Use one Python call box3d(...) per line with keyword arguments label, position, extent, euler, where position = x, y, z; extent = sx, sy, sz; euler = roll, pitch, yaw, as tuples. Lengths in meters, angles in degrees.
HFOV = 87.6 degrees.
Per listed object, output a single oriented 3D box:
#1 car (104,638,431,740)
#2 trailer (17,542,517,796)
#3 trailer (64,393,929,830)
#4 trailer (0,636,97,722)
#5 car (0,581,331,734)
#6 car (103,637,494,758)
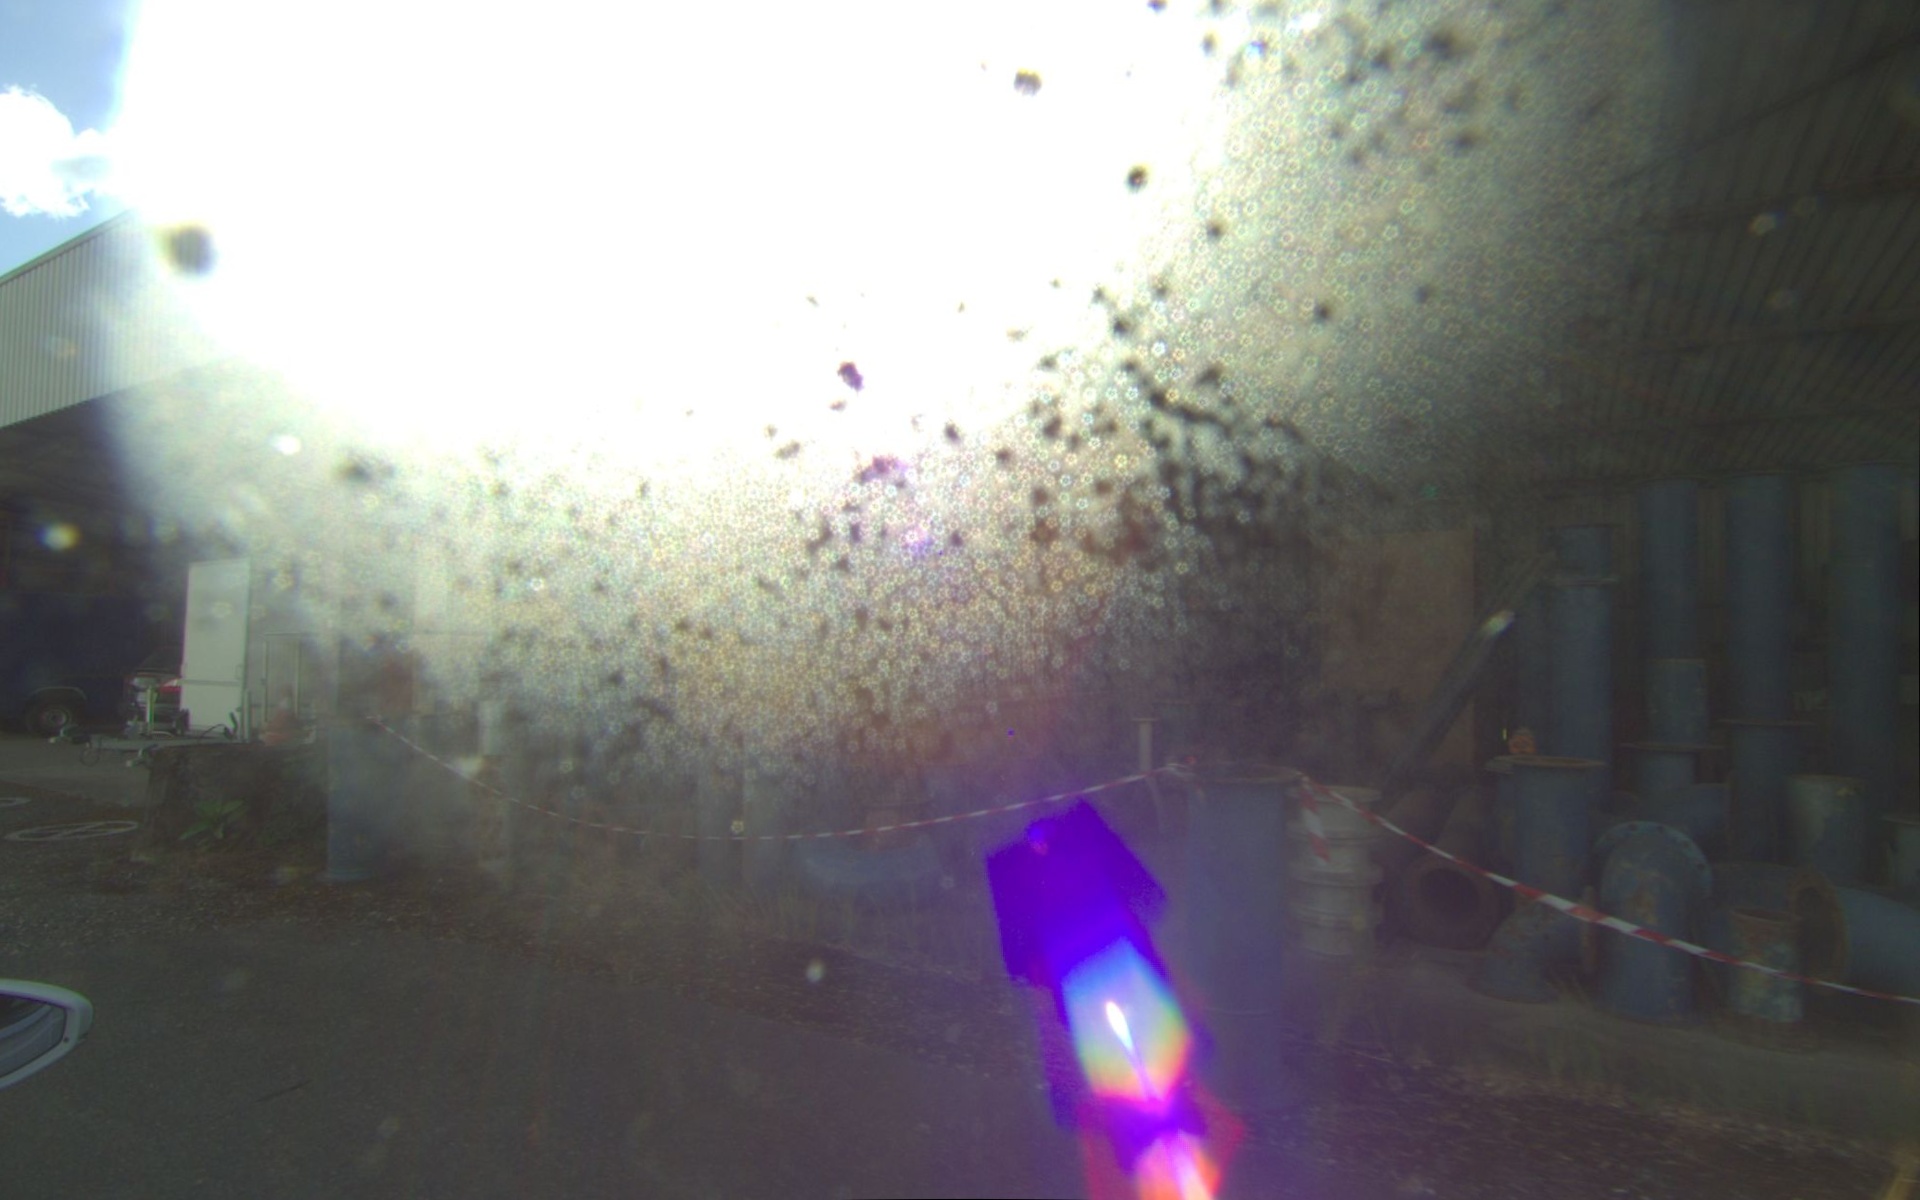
box3d(label="car", position=(-11.314, 1.375, 16.666), extent=(1.823, 1.472, 4.103), euler=(-1, -2, 30))
box3d(label="trailer", position=(-7.748, 0.730, 11.740), extent=(1.664, 2.364, 4.536), euler=(-1, -2, 31))
box3d(label="trailer", position=(-4.286, 0.274, 12.737), extent=(2.636, 3.337, 10.280), euler=(-1, -2, 31))
box3d(label="trailer", position=(-17.154, 1.408, 18.009), extent=(1.619, 1.480, 2.090), euler=(-2, -4, 34))
box3d(label="car", position=(-14.390, 1.004, 17.658), extent=(2.053, 2.325, 5.213), euler=(-1, -3, 30))
box3d(label="car", position=(-9.182, 1.262, 14.346), extent=(1.836, 1.451, 4.343), euler=(-1, -2, 27))
